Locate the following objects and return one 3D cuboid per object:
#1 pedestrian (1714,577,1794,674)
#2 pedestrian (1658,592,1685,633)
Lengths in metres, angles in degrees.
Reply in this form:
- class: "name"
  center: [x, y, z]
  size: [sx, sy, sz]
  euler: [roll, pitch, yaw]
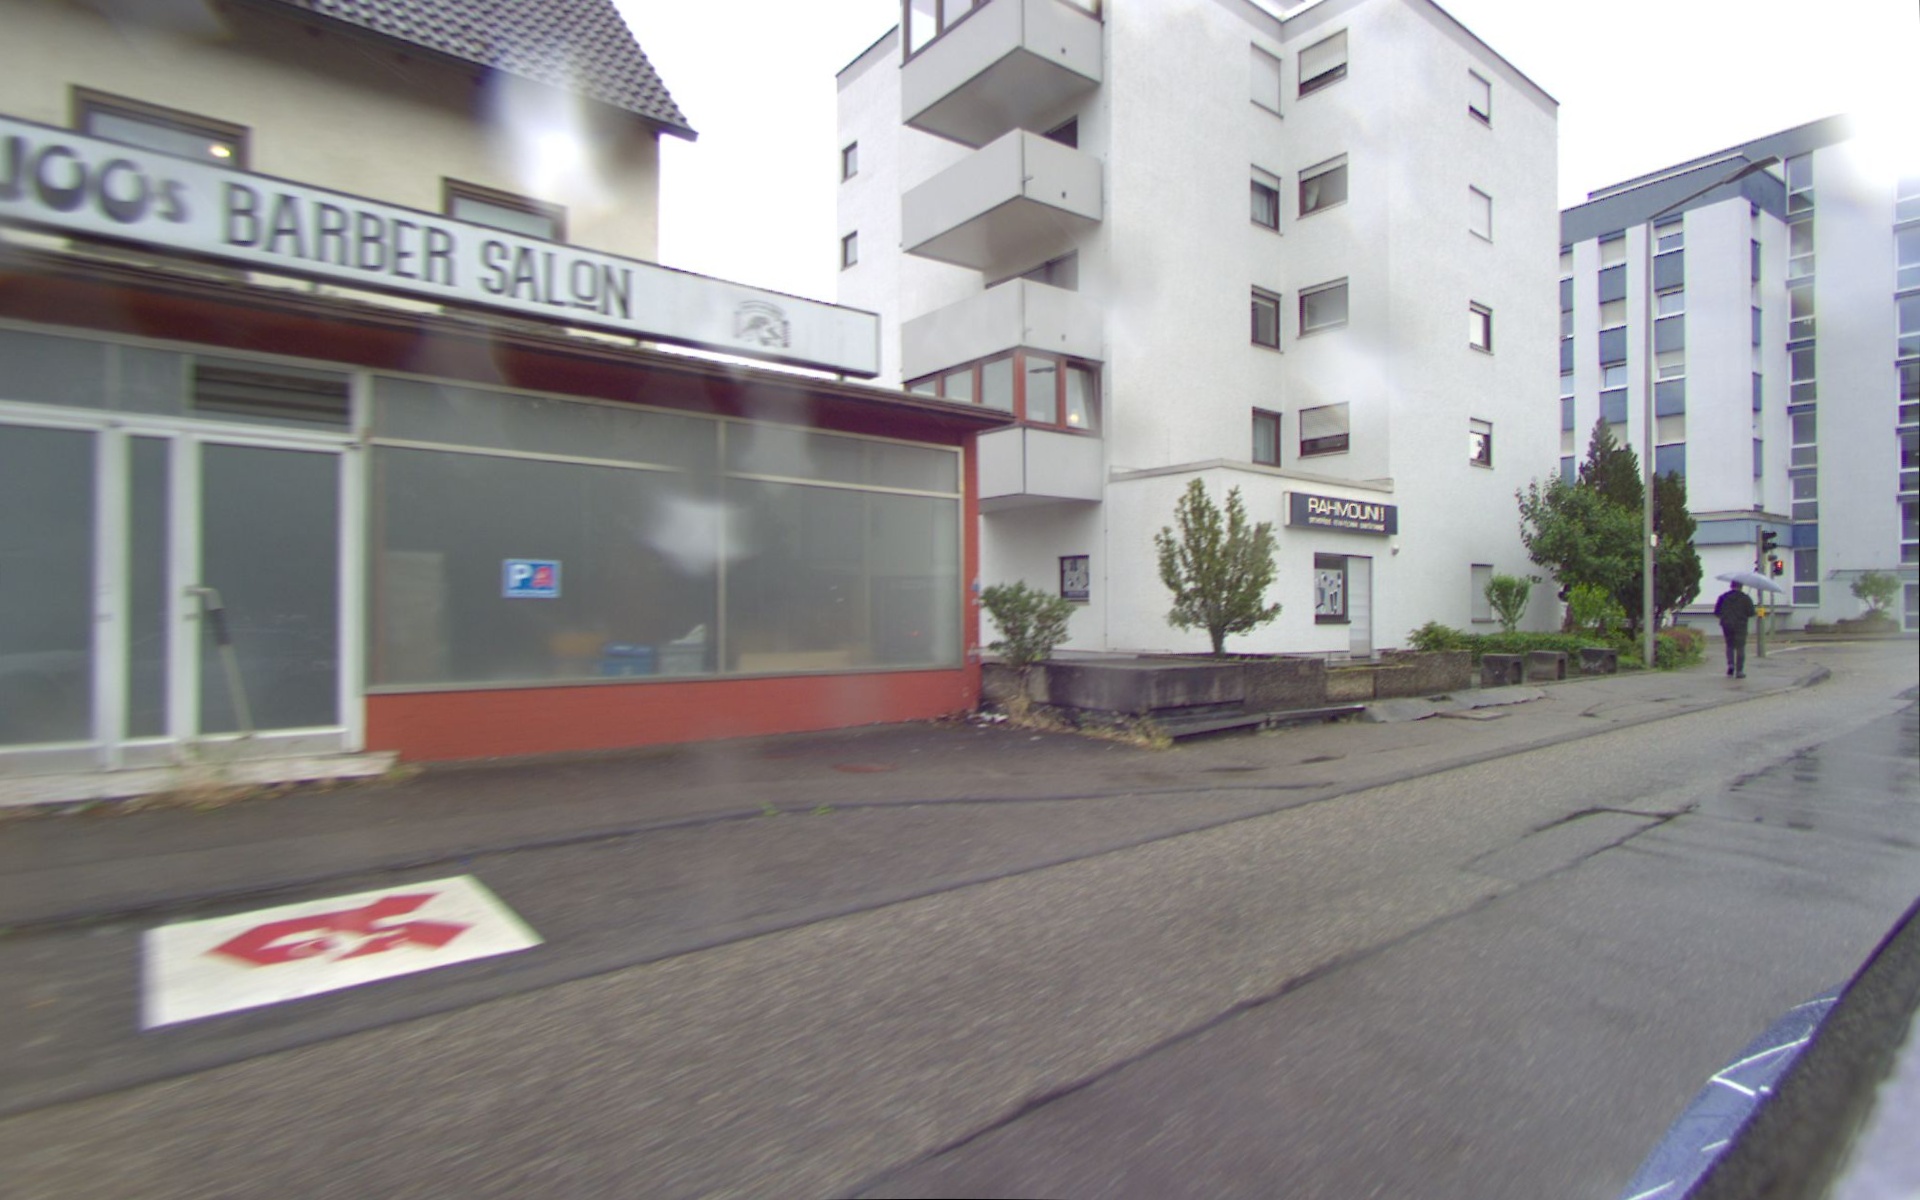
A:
- class: "pedestrian"
  center: [13.393, 0.425, 17.066]
  size: [0.975, 1.588, 0.754]
  euler: [-1, -2, -37]
- class: "pedestrian"
  center: [29.852, 0.507, 42.455]
  size: [0.644, 1.673, 0.645]
  euler: [0, -5, -36]
